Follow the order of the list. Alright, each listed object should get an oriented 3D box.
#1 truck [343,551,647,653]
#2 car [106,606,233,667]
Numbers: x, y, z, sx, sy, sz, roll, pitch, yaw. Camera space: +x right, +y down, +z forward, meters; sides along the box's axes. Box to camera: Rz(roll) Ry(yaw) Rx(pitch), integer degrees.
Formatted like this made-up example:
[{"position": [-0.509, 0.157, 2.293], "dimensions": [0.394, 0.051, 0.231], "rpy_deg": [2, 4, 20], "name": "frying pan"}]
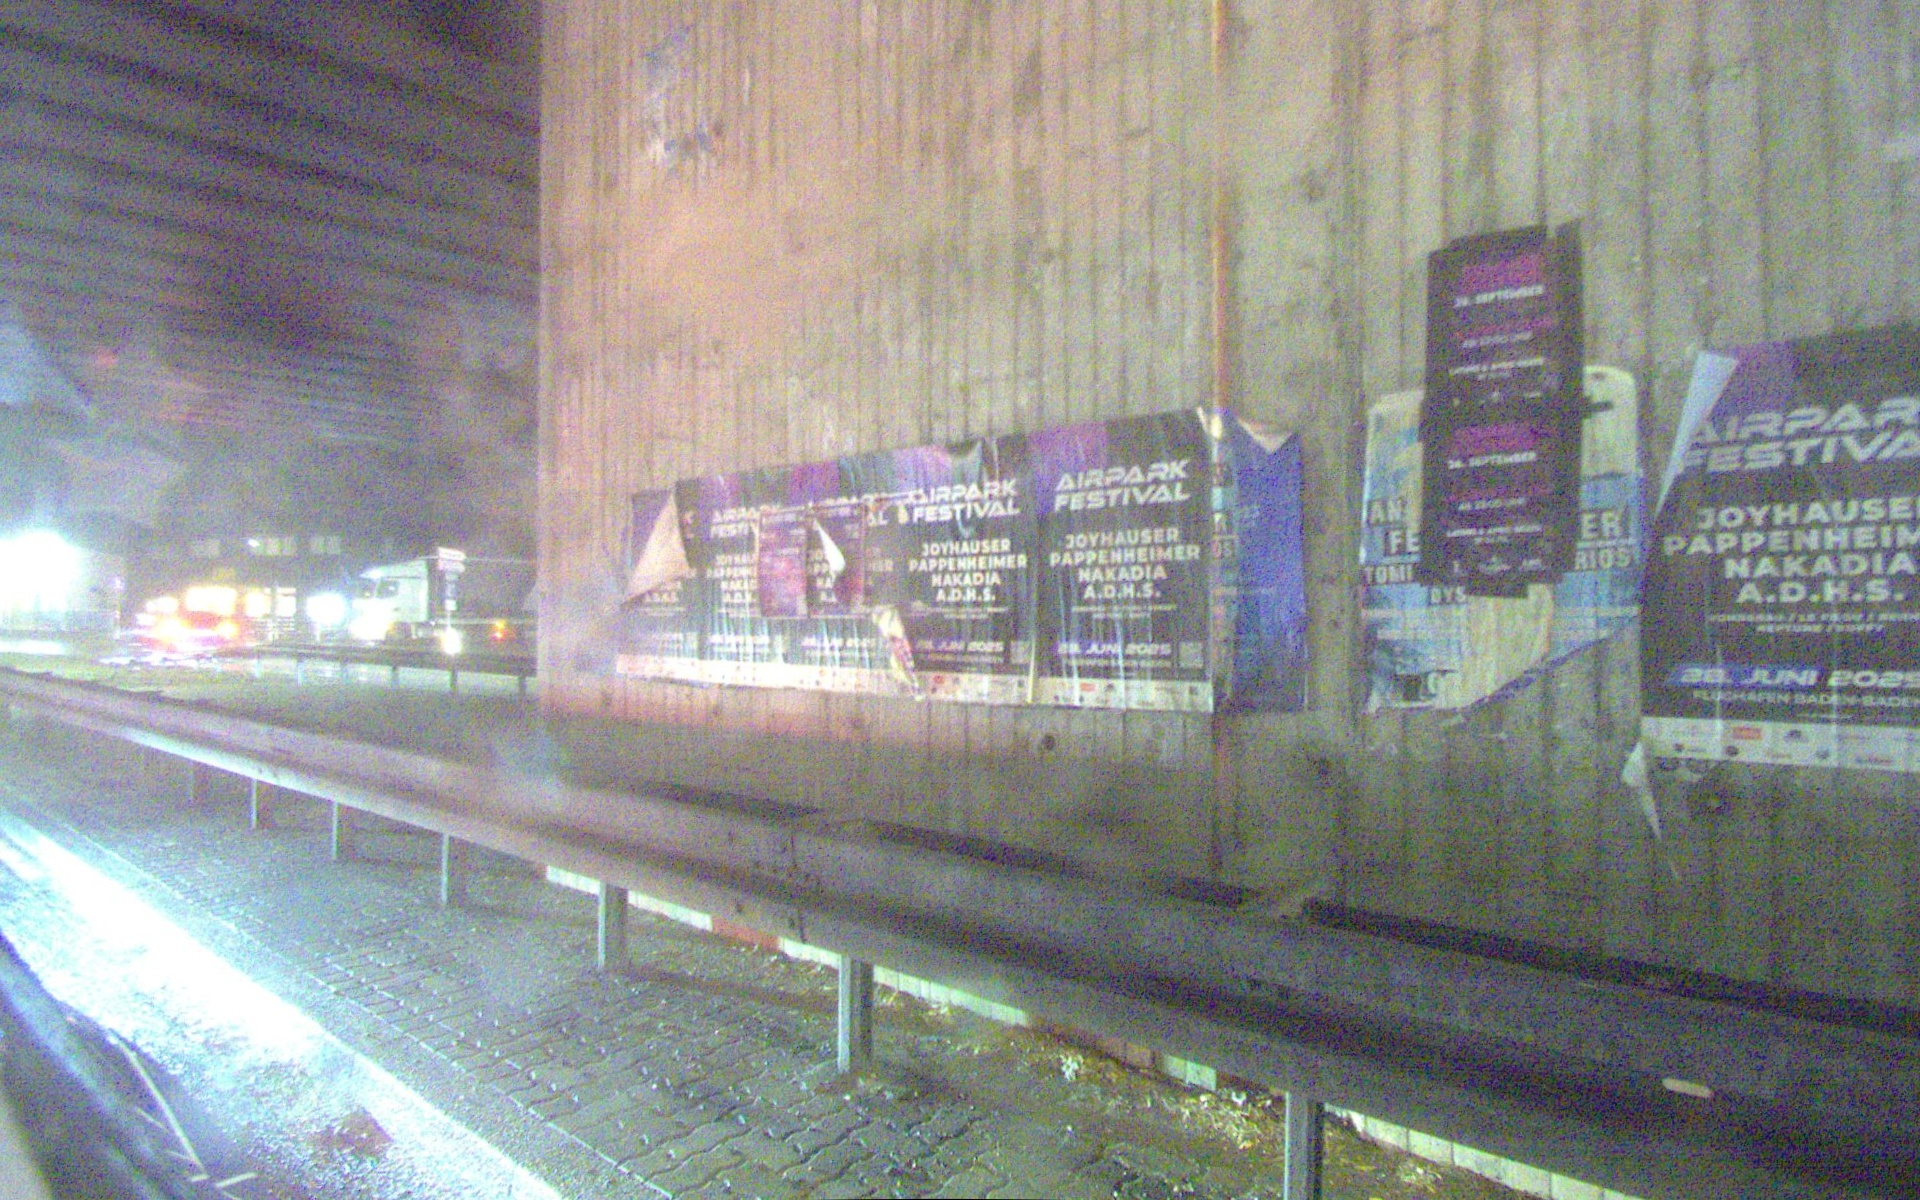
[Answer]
[{"position": [-22.426, 0.128, 49.938], "dimensions": [13.480, 4.474, 2.746], "rpy_deg": [0, -1, -43], "name": "truck"}, {"position": [-23.839, 1.076, 30.474], "dimensions": [4.488, 1.722, 1.735], "rpy_deg": [0, -2, 35], "name": "car"}]
